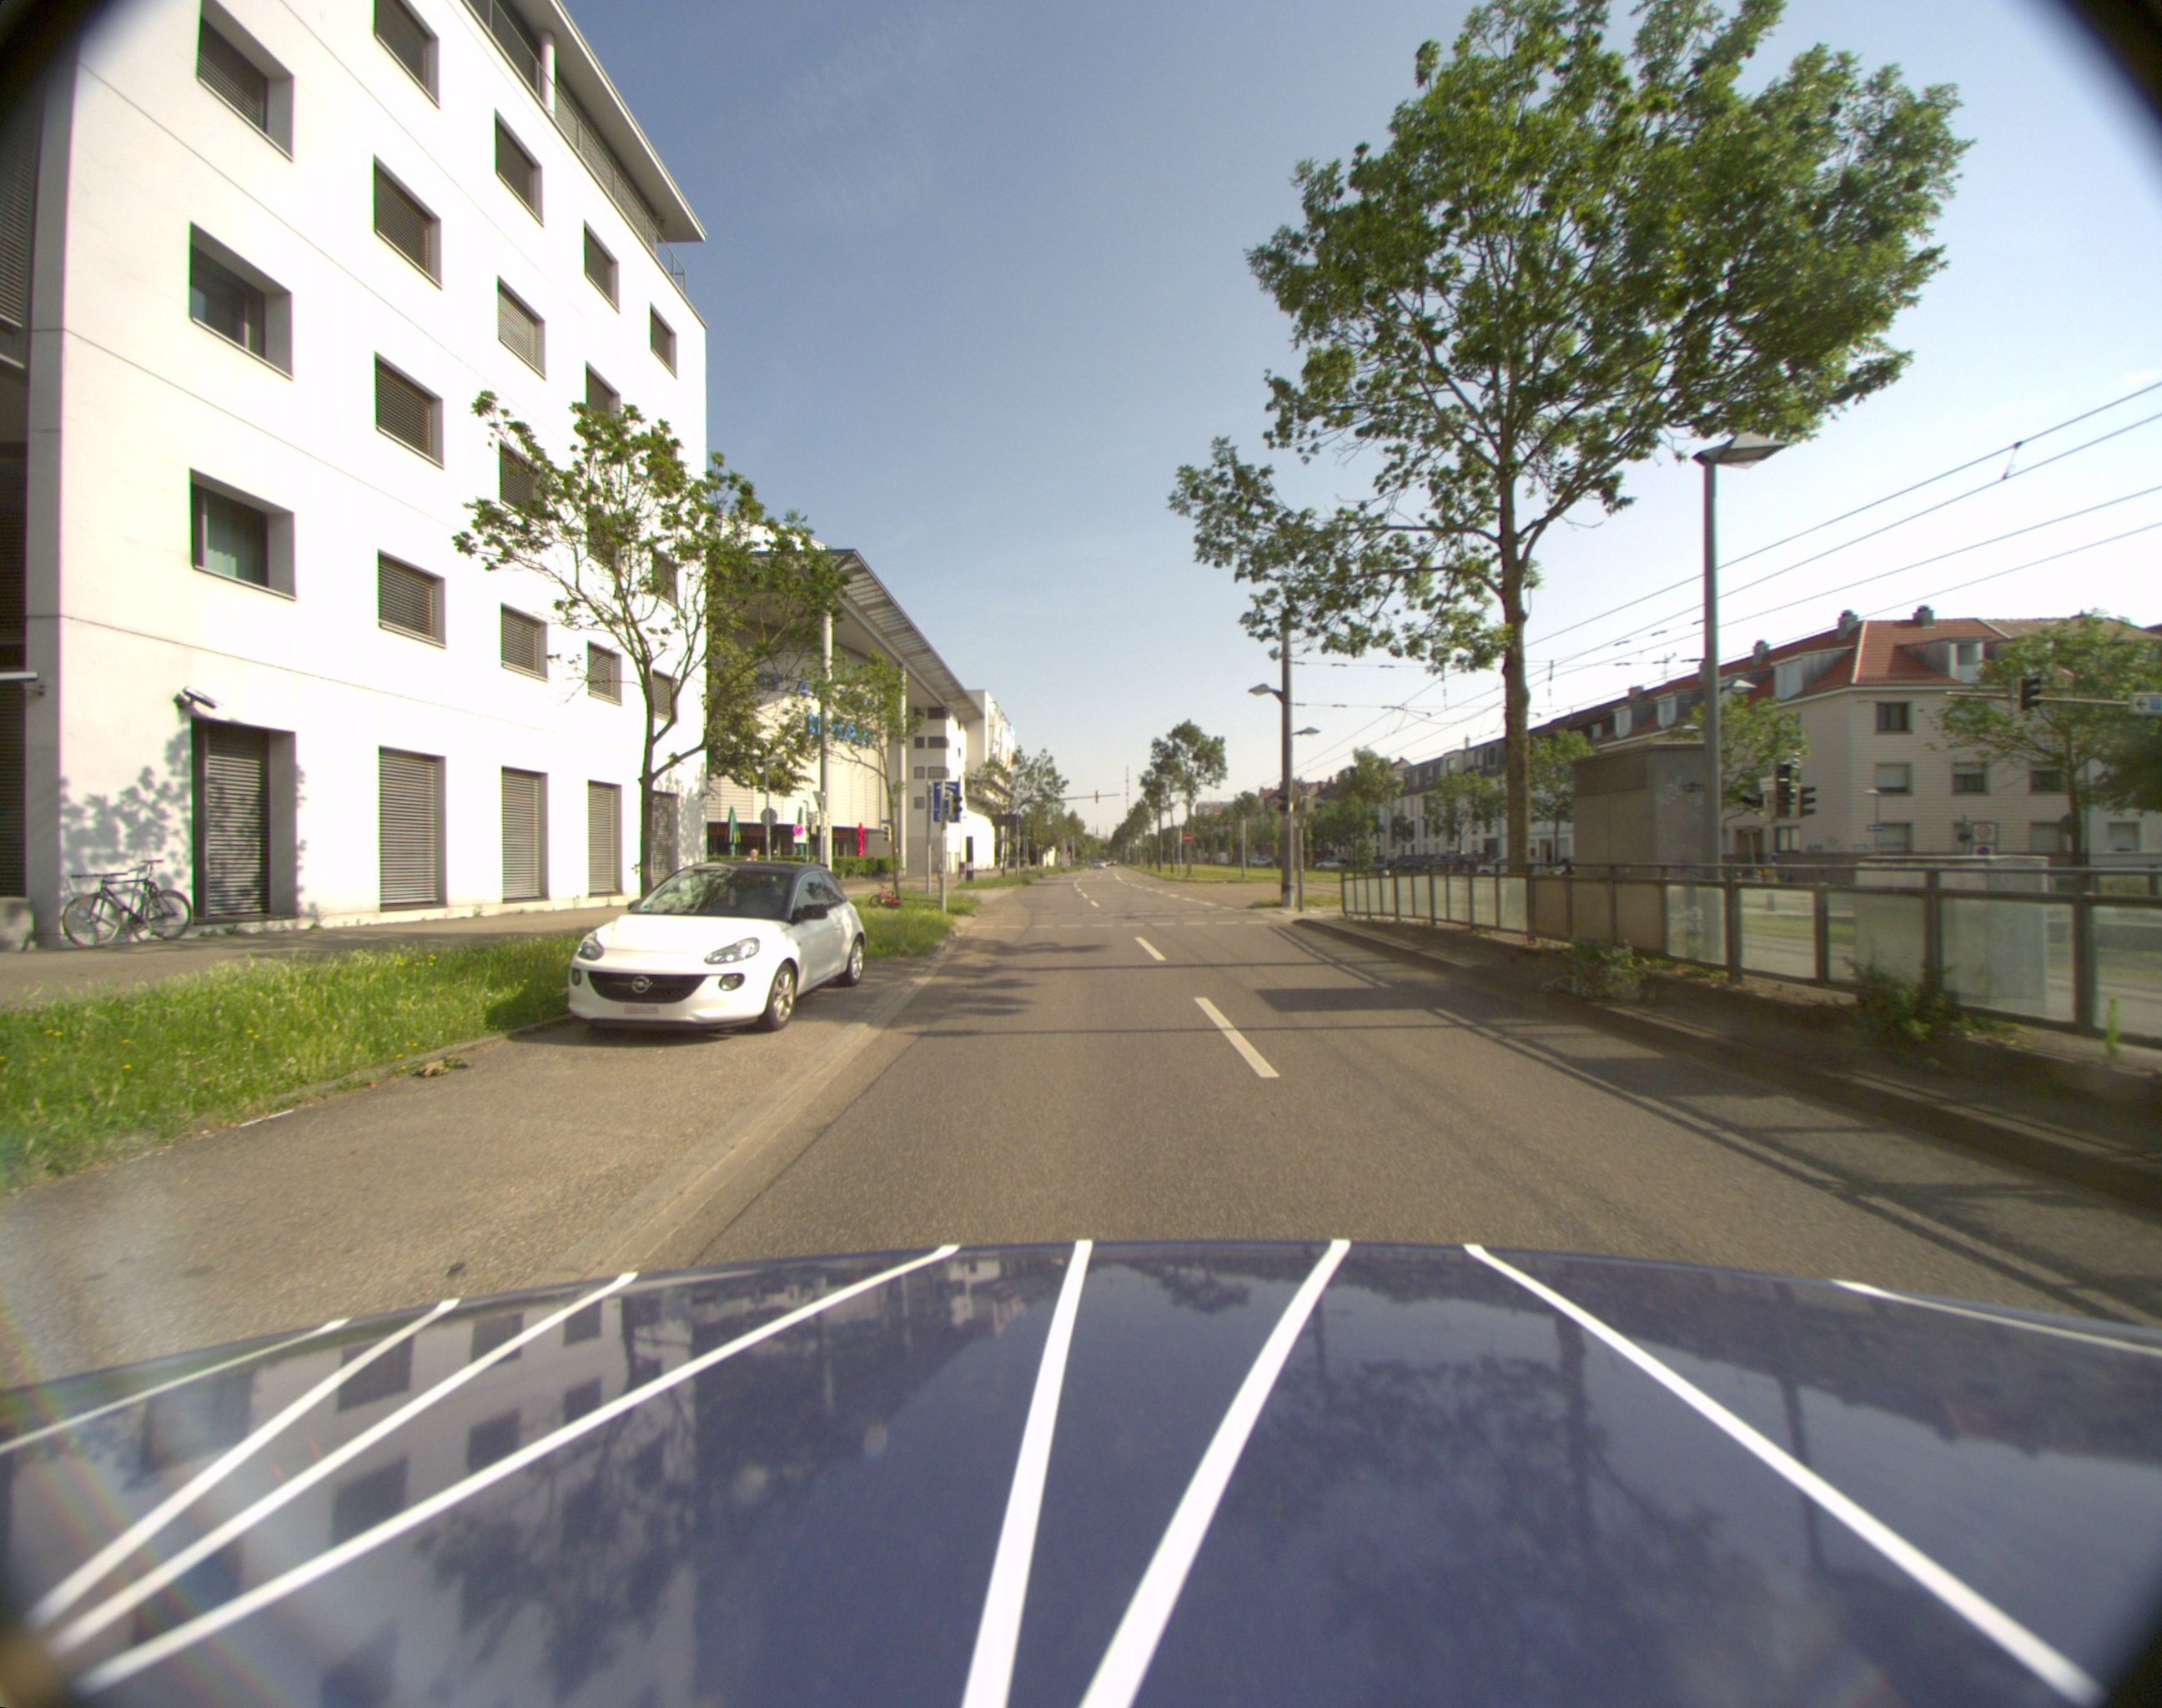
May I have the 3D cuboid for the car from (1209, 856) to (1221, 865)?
[{"bbox_3d":[26.782,1.207,152.307,1.820,1.727,4.162,1,0,3],"label":"car"}]

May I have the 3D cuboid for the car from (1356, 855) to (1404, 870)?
[{"bbox_3d":[30.549,0.845,77.630,4.329,1.368,2.003,-2,0,28],"label":"car"}]

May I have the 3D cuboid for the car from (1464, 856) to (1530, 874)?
[{"bbox_3d":[29.960,0.782,54.742,3.988,1.251,1.880,1,0,35],"label":"car"}]

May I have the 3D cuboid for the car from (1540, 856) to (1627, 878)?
[{"bbox_3d":[29.607,0.785,44.843,3.989,1.171,2.004,-2,0,43],"label":"car"}]

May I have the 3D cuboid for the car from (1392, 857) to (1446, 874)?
[{"bbox_3d":[29.038,1.013,65.350,4.049,1.280,2.004,-2,0,29],"label":"car"}]

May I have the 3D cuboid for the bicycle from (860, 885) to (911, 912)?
[{"bbox_3d":[-5.611,1.274,21.818,1.273,0.629,0.521,6,1,9],"label":"bicycle"}]

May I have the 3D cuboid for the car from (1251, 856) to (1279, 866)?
[{"bbox_3d":[32.097,1.207,132.538,4.354,1.466,1.861,-2,0,39],"label":"car"}]

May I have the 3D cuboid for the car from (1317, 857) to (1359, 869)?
[{"bbox_3d":[30.629,1.033,90.684,4.387,1.312,1.737,-2,0,34],"label":"car"}]

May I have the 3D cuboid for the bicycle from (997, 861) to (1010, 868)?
[{"bbox_3d":[-10.413,1.380,101.918,1.661,0.910,0.482,1,0,2],"label":"bicycle"}]

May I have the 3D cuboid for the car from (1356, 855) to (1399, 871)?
[{"bbox_3d":[29.393,0.881,75.286,3.771,1.368,1.667,-2,0,28],"label":"car"}]

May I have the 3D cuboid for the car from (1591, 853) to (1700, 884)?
[{"bbox_3d":[28.810,0.736,38.949,4.341,1.455,1.967,-2,0,35],"label":"car"}]

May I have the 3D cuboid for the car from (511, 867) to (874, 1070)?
[{"bbox_3d":[-3.457,0.901,7.651,1.725,1.510,3.781,0,-1,0],"label":"car"}]

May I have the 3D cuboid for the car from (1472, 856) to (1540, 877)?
[{"bbox_3d":[29.180,0.870,52.225,3.989,1.262,1.890,-2,0,32],"label":"car"}]

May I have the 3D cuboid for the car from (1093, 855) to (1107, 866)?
[{"bbox_3d":[2.915,1.026,115.447,1.998,1.652,4.001,0,0,2],"label":"car"}]

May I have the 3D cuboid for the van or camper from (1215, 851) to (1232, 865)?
[{"bbox_3d":[26.570,0.681,141.814,2.146,2.459,6.059,1,0,1],"label":"van or camper"}]

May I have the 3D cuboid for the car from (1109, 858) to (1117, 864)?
[{"bbox_3d":[8.292,1.825,194.655,1.998,1.652,4.001,0,0,2],"label":"car"}]

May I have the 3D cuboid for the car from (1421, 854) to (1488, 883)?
[{"bbox_3d":[24.343,0.916,49.723,1.998,1.696,4.713,2,0,1],"label":"car"}]

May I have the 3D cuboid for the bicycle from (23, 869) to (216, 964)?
[{"bbox_3d":[-12.150,0.745,9.677,0.495,1.079,1.550,1,0,-1],"label":"bicycle"}]

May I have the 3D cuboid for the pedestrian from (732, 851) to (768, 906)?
[{"bbox_3d":[-10.025,0.723,23.016,0.777,1.606,0.715,1,0,43],"label":"pedestrian"}]

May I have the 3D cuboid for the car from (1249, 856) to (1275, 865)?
[{"bbox_3d":[32.243,1.128,135.435,4.088,1.520,1.816,-2,0,39],"label":"car"}]

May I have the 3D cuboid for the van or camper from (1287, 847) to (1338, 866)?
[{"bbox_3d":[31.463,0.320,103.519,6.144,2.532,2.419,-1,0,39],"label":"van or camper"}]

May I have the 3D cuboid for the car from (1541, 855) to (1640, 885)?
[{"bbox_3d":[28.571,0.914,42.655,4.452,1.505,2.004,-2,0,38],"label":"car"}]
